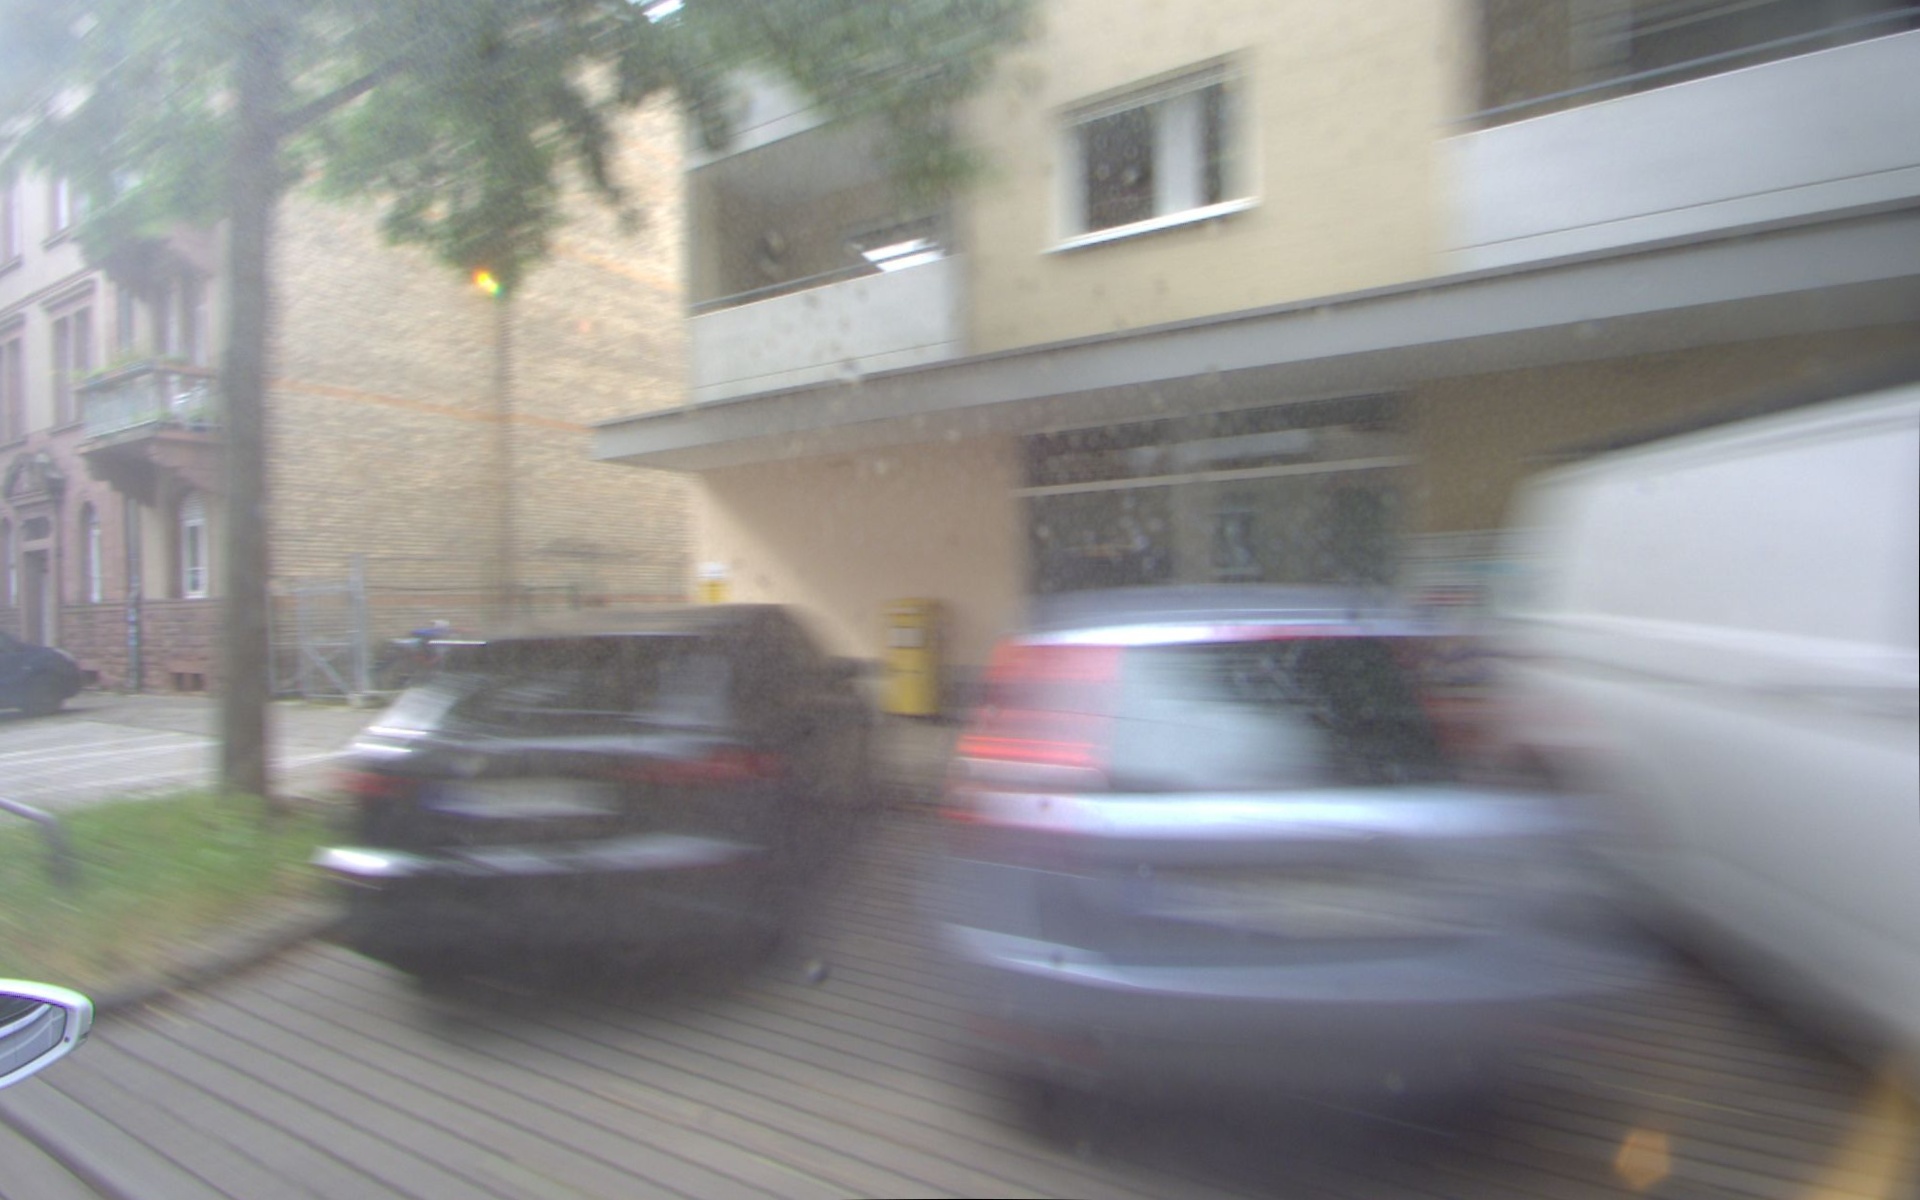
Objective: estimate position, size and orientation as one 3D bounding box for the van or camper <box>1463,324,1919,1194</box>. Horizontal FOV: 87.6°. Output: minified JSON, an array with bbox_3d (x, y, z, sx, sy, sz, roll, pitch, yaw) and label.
[{"bbox_3d":[3.194,0.327,2.382,1.962,2.020,4.742,-3,1,6],"label":"van or camper"}]

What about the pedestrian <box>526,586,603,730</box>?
[{"bbox_3d":[-4.434,0.640,11.241,0.572,1.560,0.575,-1,0,31],"label":"pedestrian"}]

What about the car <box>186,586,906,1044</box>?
[{"bbox_3d":[-1.486,0.695,5.447,1.886,1.412,4.312,-2,2,3],"label":"car"}]

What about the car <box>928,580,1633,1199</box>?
[{"bbox_3d":[0.777,0.676,4.081,1.638,1.461,3.423,-2,1,0],"label":"car"}]

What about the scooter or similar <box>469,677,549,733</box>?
[{"bbox_3d":[-5.046,1.167,11.219,0.646,0.580,0.530,-2,-1,29],"label":"scooter or similar"}]

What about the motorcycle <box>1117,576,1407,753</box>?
[{"bbox_3d":[2.502,0.503,8.418,2.220,1.319,0.676,-1,3,31],"label":"motorcycle"}]

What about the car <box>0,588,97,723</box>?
[{"bbox_3d":[-14.678,0.859,13.670,1.961,1.895,4.183,-2,1,2],"label":"car"}]
